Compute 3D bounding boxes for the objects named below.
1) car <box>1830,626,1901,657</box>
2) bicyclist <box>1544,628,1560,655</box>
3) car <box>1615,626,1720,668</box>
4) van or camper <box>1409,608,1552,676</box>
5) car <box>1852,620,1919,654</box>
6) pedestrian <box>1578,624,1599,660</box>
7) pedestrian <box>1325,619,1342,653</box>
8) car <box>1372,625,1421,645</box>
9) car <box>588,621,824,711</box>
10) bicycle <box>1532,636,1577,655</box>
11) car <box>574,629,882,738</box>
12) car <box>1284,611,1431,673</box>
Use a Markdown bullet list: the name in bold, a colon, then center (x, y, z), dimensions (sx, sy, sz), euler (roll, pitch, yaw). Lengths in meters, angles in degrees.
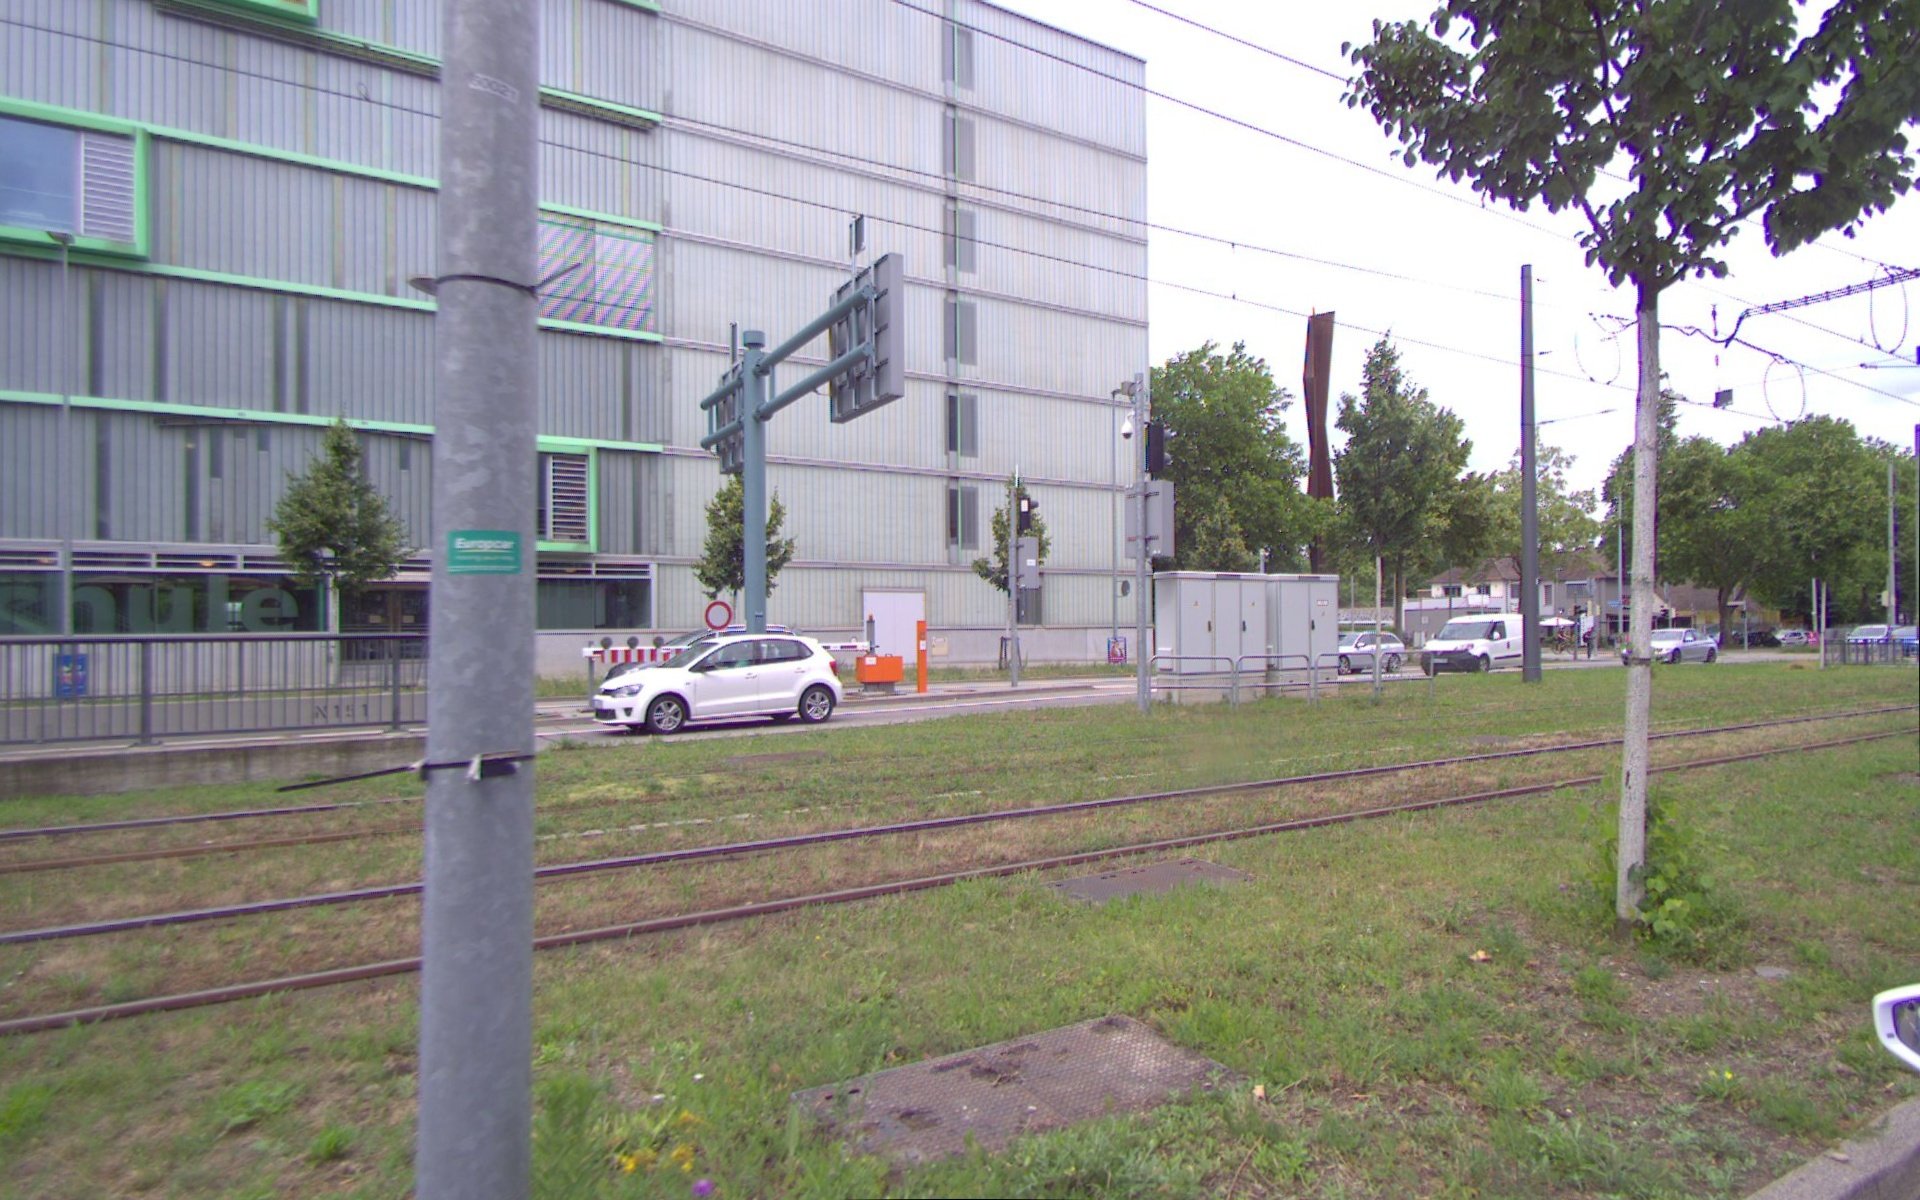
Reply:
- **car**: center (50.497, 2.285, 56.004), dimensions (4.529, 1.591, 1.786), euler (2, 0, -32)
- **bicyclist**: center (38.819, 2.699, 65.863), dimensions (0.838, 1.744, 0.719), euler (-1, -1, 34)
- **car**: center (27.373, 1.803, 38.806), dimensions (4.872, 1.464, 1.718), euler (0, -3, -35)
- **van or camper**: center (16.089, 1.270, 30.929), dimensions (5.077, 1.925, 1.876), euler (1, -3, -37)
- **car**: center (47.555, 1.852, 51.206), dimensions (4.638, 1.609, 1.953), euler (0, -1, -33)
- **pedestrian**: center (32.982, 2.209, 52.692), dimensions (0.769, 1.856, 0.771), euler (-1, -1, 43)
- **pedestrian**: center (22.842, 2.196, 61.445), dimensions (0.887, 2.040, 0.954), euler (-1, -1, 18)
- **car**: center (41.697, 3.319, 96.002), dimensions (1.974, 1.873, 3.973), euler (0, -1, -27)
- **car**: center (-5.777, 1.425, 22.980), dimensions (4.908, 1.848, 1.984), euler (0, -1, -30)
- **bicycle**: center (38.909, 2.972, 65.791), dimensions (2.475, 1.218, 0.738), euler (-1, -1, 35)
- **car**: center (-3.658, 1.252, 16.177), dimensions (4.524, 1.498, 1.752), euler (1, -2, -34)
- **car**: center (14.000, 1.427, 35.267), dimensions (5.232, 2.040, 1.984), euler (0, -1, -30)
